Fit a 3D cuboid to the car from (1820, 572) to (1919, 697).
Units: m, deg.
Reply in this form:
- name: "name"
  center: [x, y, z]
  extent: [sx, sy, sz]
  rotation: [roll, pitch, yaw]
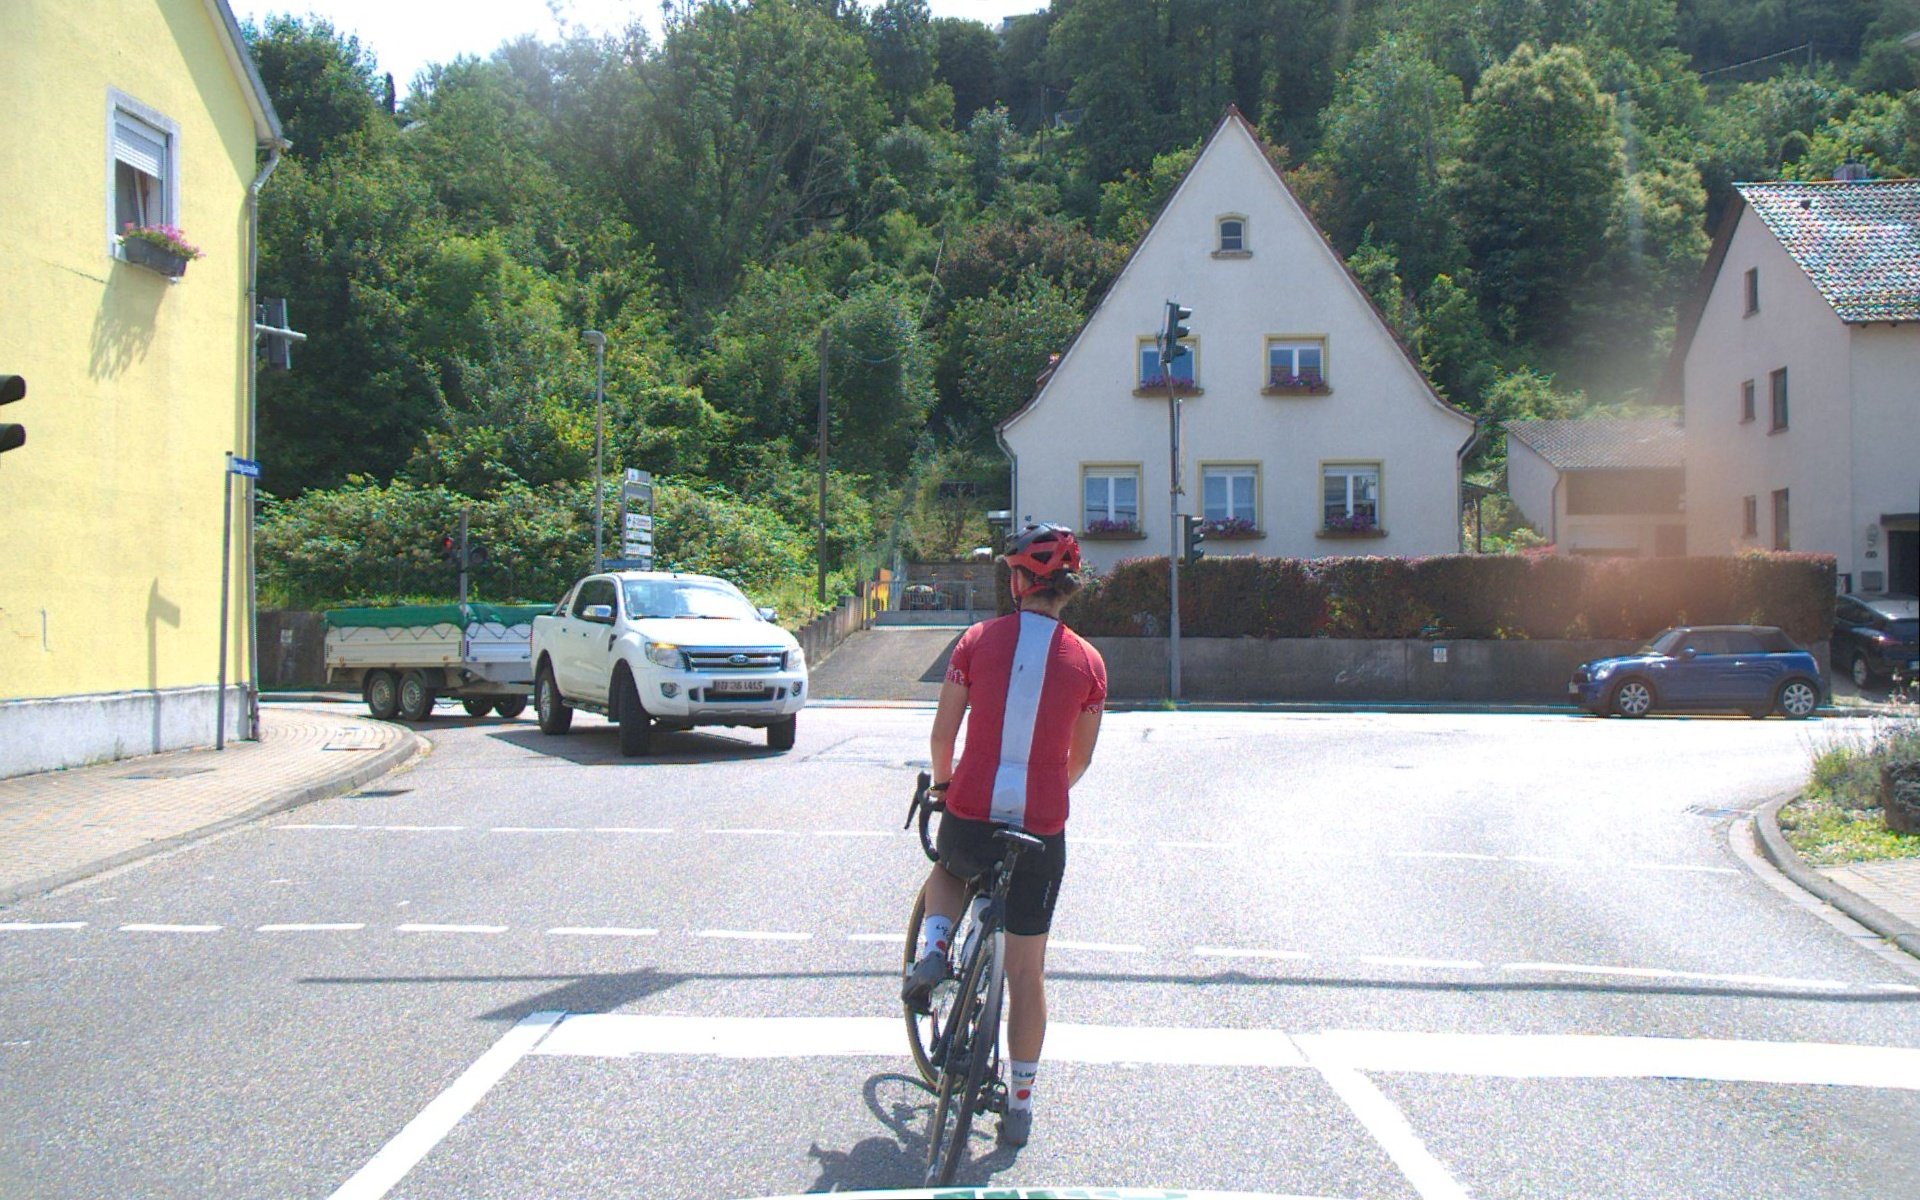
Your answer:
- name: "car"
  center: [17.321, 0.584, 30.761]
  extent: [1.758, 1.411, 3.696]
  rotation: [0, 13, 19]

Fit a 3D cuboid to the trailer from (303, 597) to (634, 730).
- name: "trailer"
  center: [-6.566, 0.797, 21.943]
  extent: [4.356, 1.566, 1.972]
  rotation: [-1, 0, 36]

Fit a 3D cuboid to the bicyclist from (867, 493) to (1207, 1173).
- name: "bicyclist"
  center: [0.180, 0.587, 4.618]
  extent: [0.747, 1.693, 0.866]
  rotation: [1, 0, -10]

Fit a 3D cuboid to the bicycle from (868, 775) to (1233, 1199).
- name: "bicycle"
  center: [0.164, 1.025, 4.507]
  extent: [0.618, 0.920, 1.653]
  rotation: [1, 0, -10]

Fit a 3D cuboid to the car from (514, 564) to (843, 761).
- name: "car"
  center: [-3.263, 0.595, 18.086]
  extent: [1.951, 1.807, 5.263]
  rotation: [-1, 0, -29]

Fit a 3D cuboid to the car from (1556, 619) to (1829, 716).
- name: "car"
  center: [11.315, 1.058, 25.731]
  extent: [3.533, 1.387, 1.645]
  rotation: [1, -3, 3]
